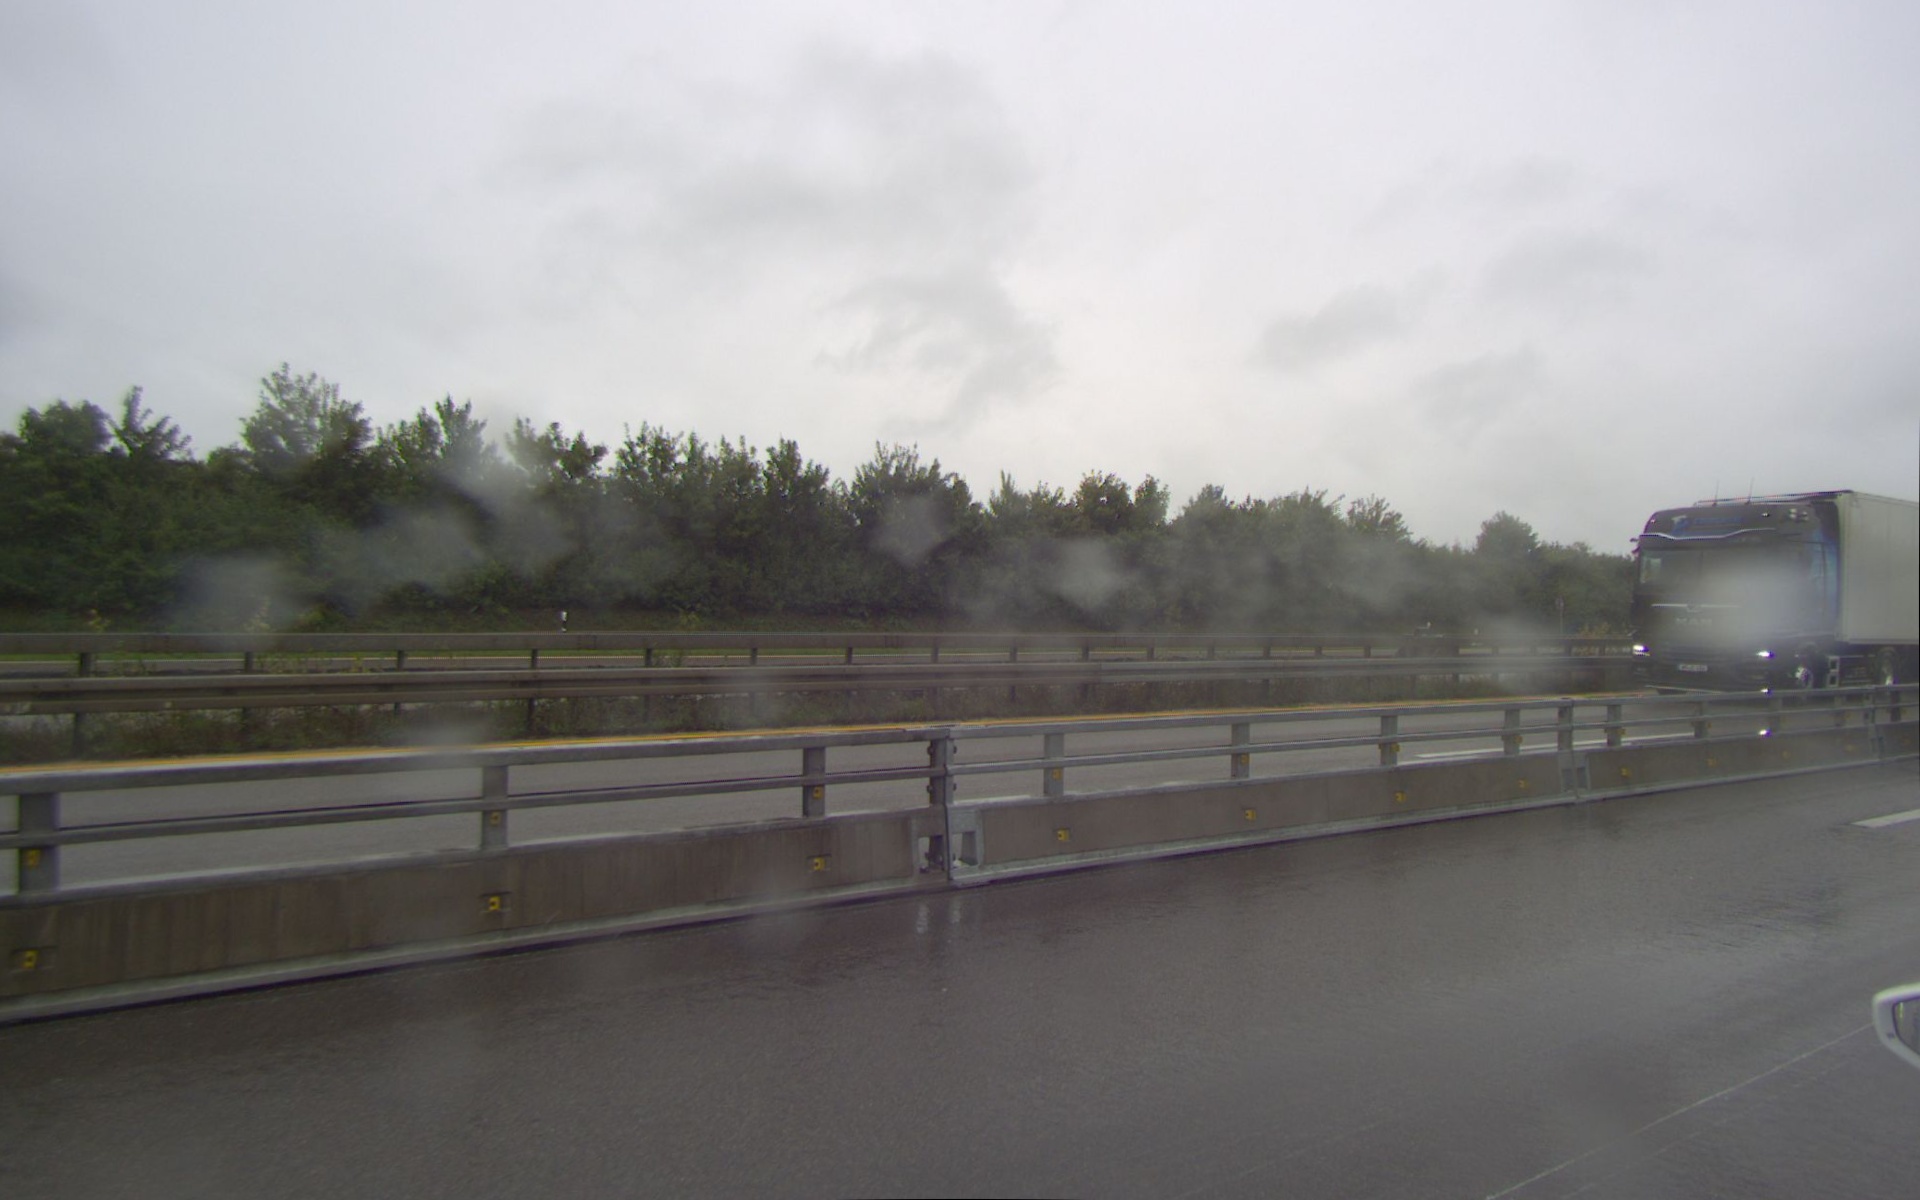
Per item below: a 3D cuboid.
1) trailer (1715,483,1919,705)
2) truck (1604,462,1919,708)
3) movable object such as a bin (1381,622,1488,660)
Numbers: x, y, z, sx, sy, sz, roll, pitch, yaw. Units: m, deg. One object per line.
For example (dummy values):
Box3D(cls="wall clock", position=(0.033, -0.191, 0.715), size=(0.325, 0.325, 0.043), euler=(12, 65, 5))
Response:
Box3D(cls="trailer", position=(22.906, 0.097, 24.055), size=(12.740, 4.343, 2.880), euler=(2, -1, -30))
Box3D(cls="truck", position=(16.277, -0.143, 20.300), size=(6.249, 4.287, 2.876), euler=(2, -1, -29))
Box3D(cls="movable object such as a bin", position=(19.838, 1.708, 41.967), size=(3.952, 1.444, 2.116), euler=(2, 0, -29))
